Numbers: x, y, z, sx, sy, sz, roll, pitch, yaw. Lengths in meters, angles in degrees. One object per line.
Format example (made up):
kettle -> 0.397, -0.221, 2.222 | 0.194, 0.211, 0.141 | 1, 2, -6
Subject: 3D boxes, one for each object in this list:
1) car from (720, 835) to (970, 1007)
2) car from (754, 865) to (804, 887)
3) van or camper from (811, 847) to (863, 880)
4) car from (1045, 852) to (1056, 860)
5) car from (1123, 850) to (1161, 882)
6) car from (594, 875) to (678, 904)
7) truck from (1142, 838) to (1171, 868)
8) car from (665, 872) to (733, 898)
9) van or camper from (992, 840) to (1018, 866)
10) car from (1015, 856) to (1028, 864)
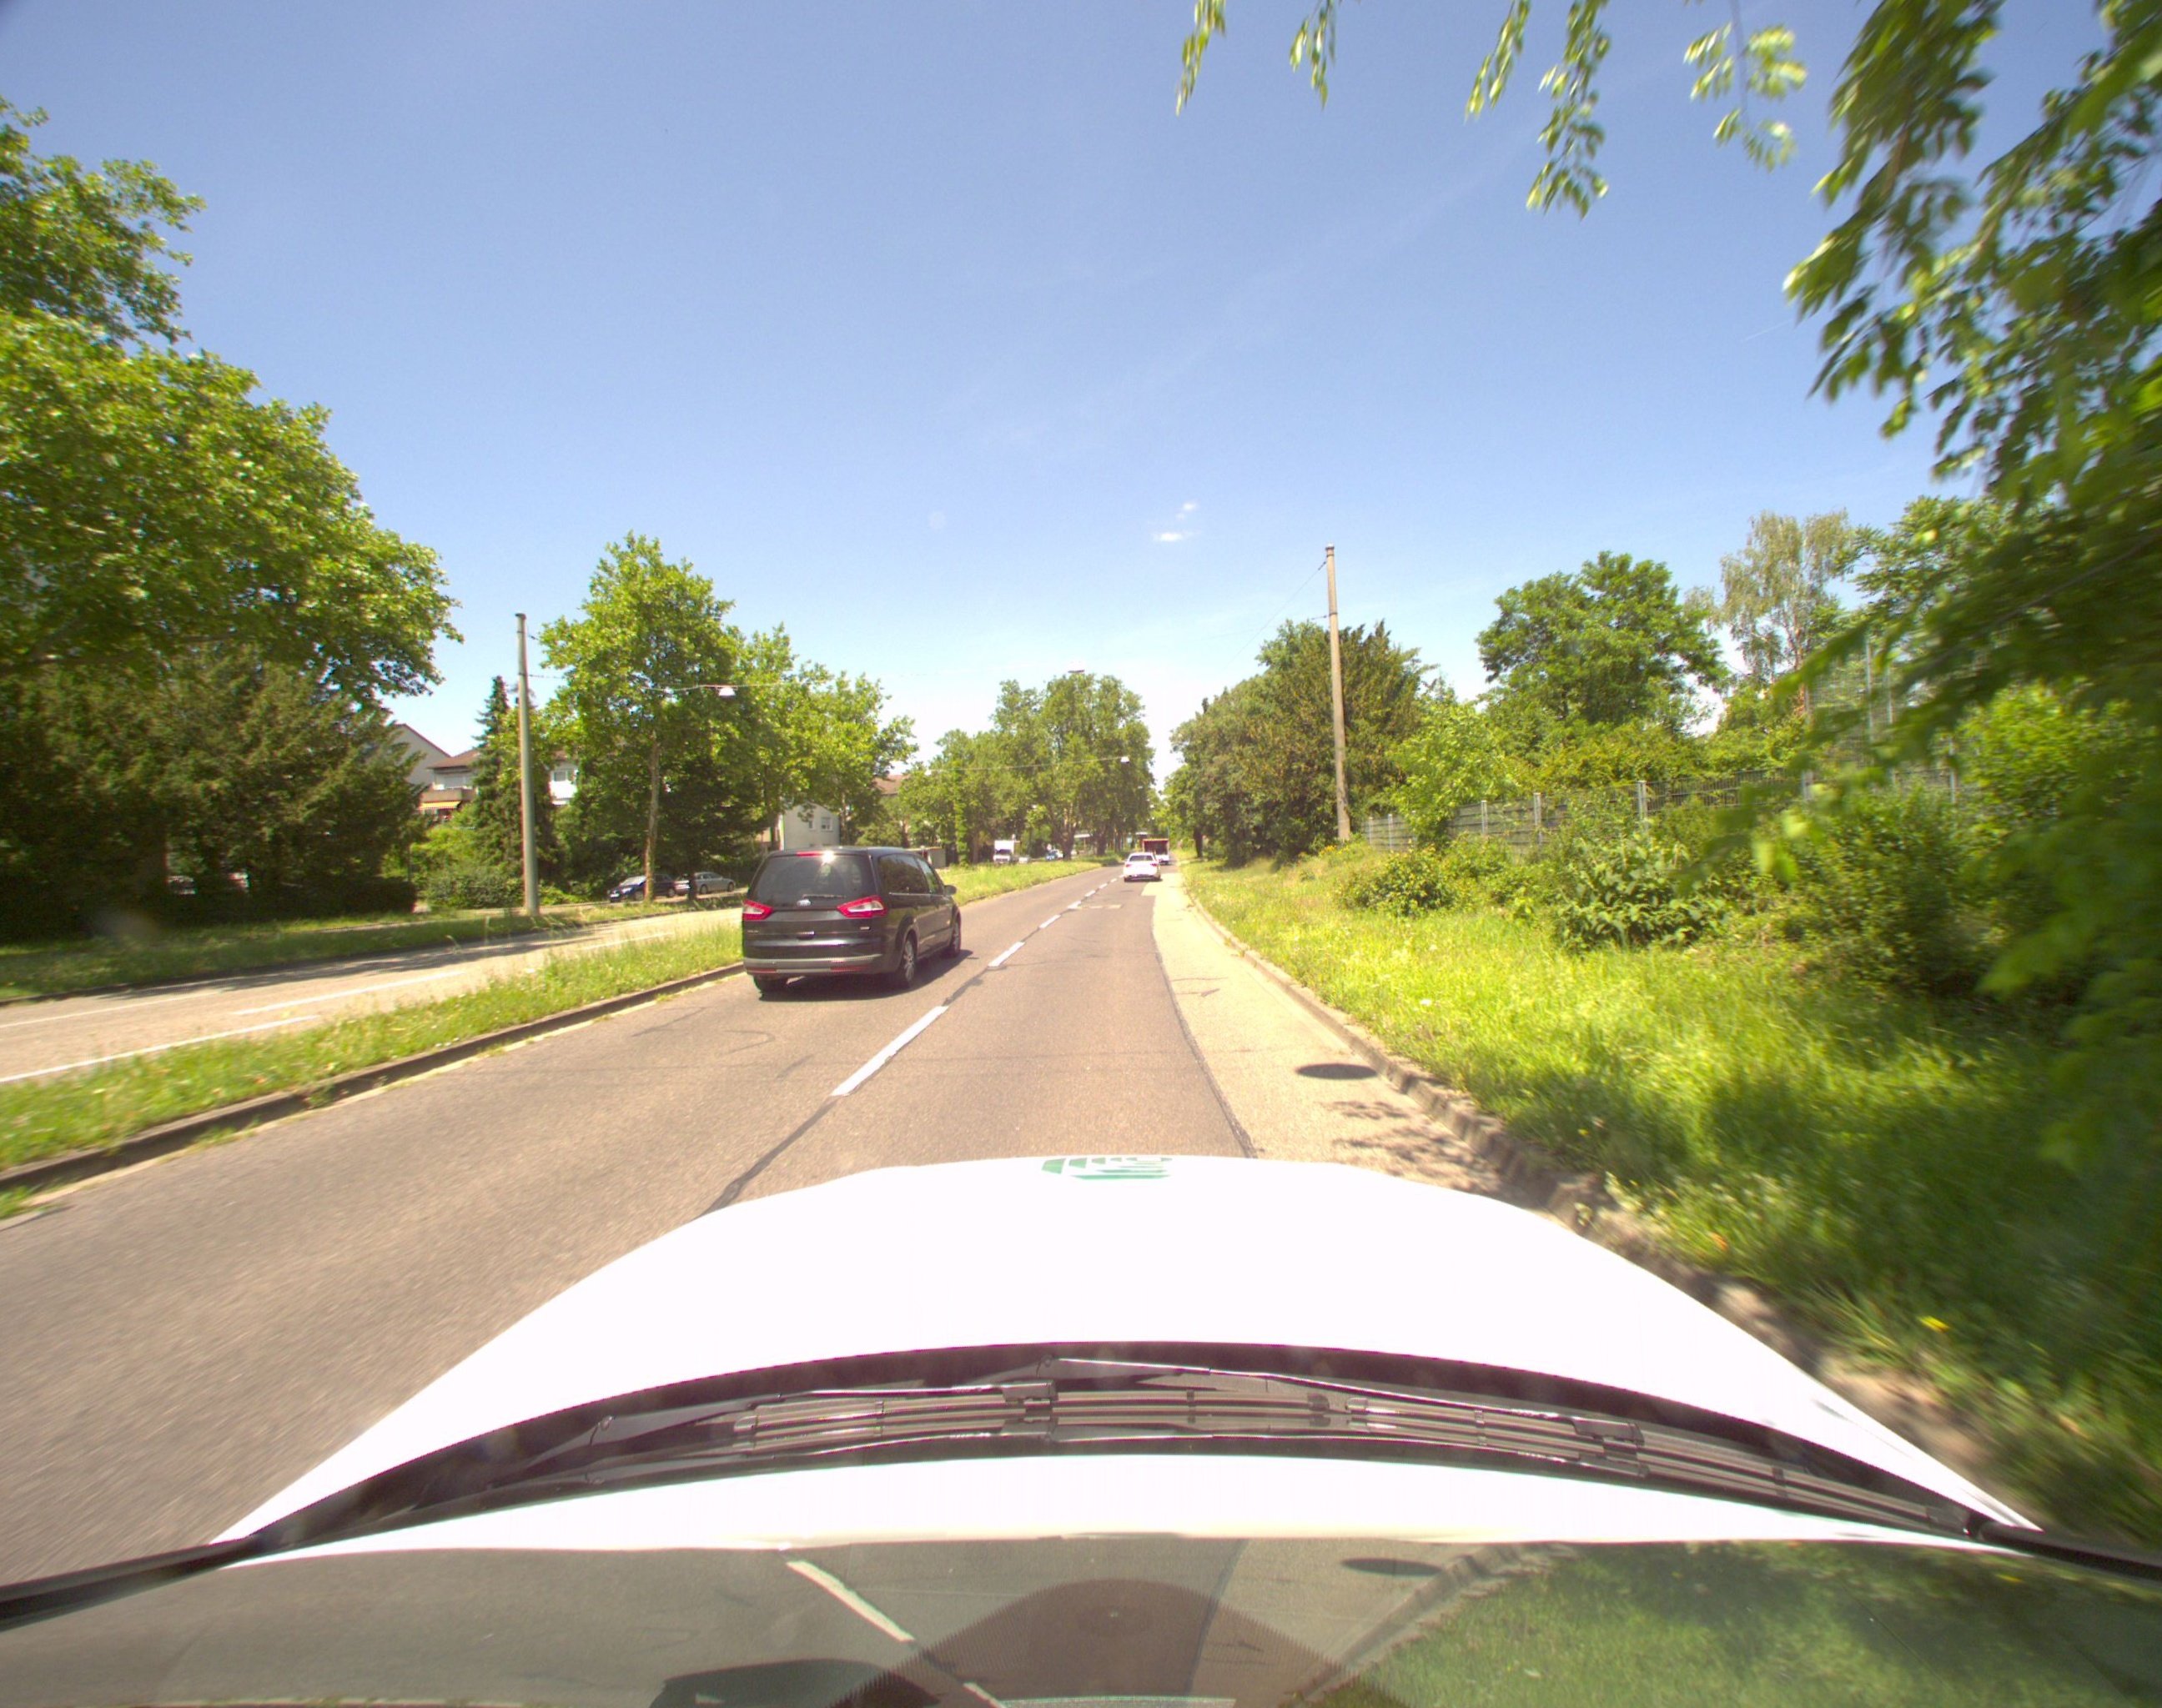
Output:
car -> -2.810, 0.704, 10.939 | 1.847, 1.755, 4.650 | -2, 0, 1
car -> -22.805, 1.658, 61.660 | 1.871, 1.474, 4.008 | -2, 0, 7
van or camper -> -21.235, 0.790, 71.192 | 2.170, 2.587, 5.321 | -3, 0, 8
car -> -5.065, 0.286, 136.344 | 1.767, 1.332, 3.657 | -1, 0, -2
car -> 3.076, 0.564, 40.681 | 1.754, 1.445, 3.622 | -2, 0, 6
car -> -25.239, 1.986, 46.345 | 1.868, 1.393, 4.015 | -2, 0, 14
truck -> 6.910, -0.134, 75.014 | 2.499, 2.559, 7.613 | -1, 1, 4
car -> -24.236, 1.940, 51.848 | 1.869, 1.376, 4.013 | -2, 0, 11
van or camper -> -10.365, -0.124, 111.592 | 2.650, 3.331, 5.503 | -2, 0, 2
car -> -9.245, 0.902, 126.586 | 1.909, 1.210, 4.331 | -3, 0, -2
